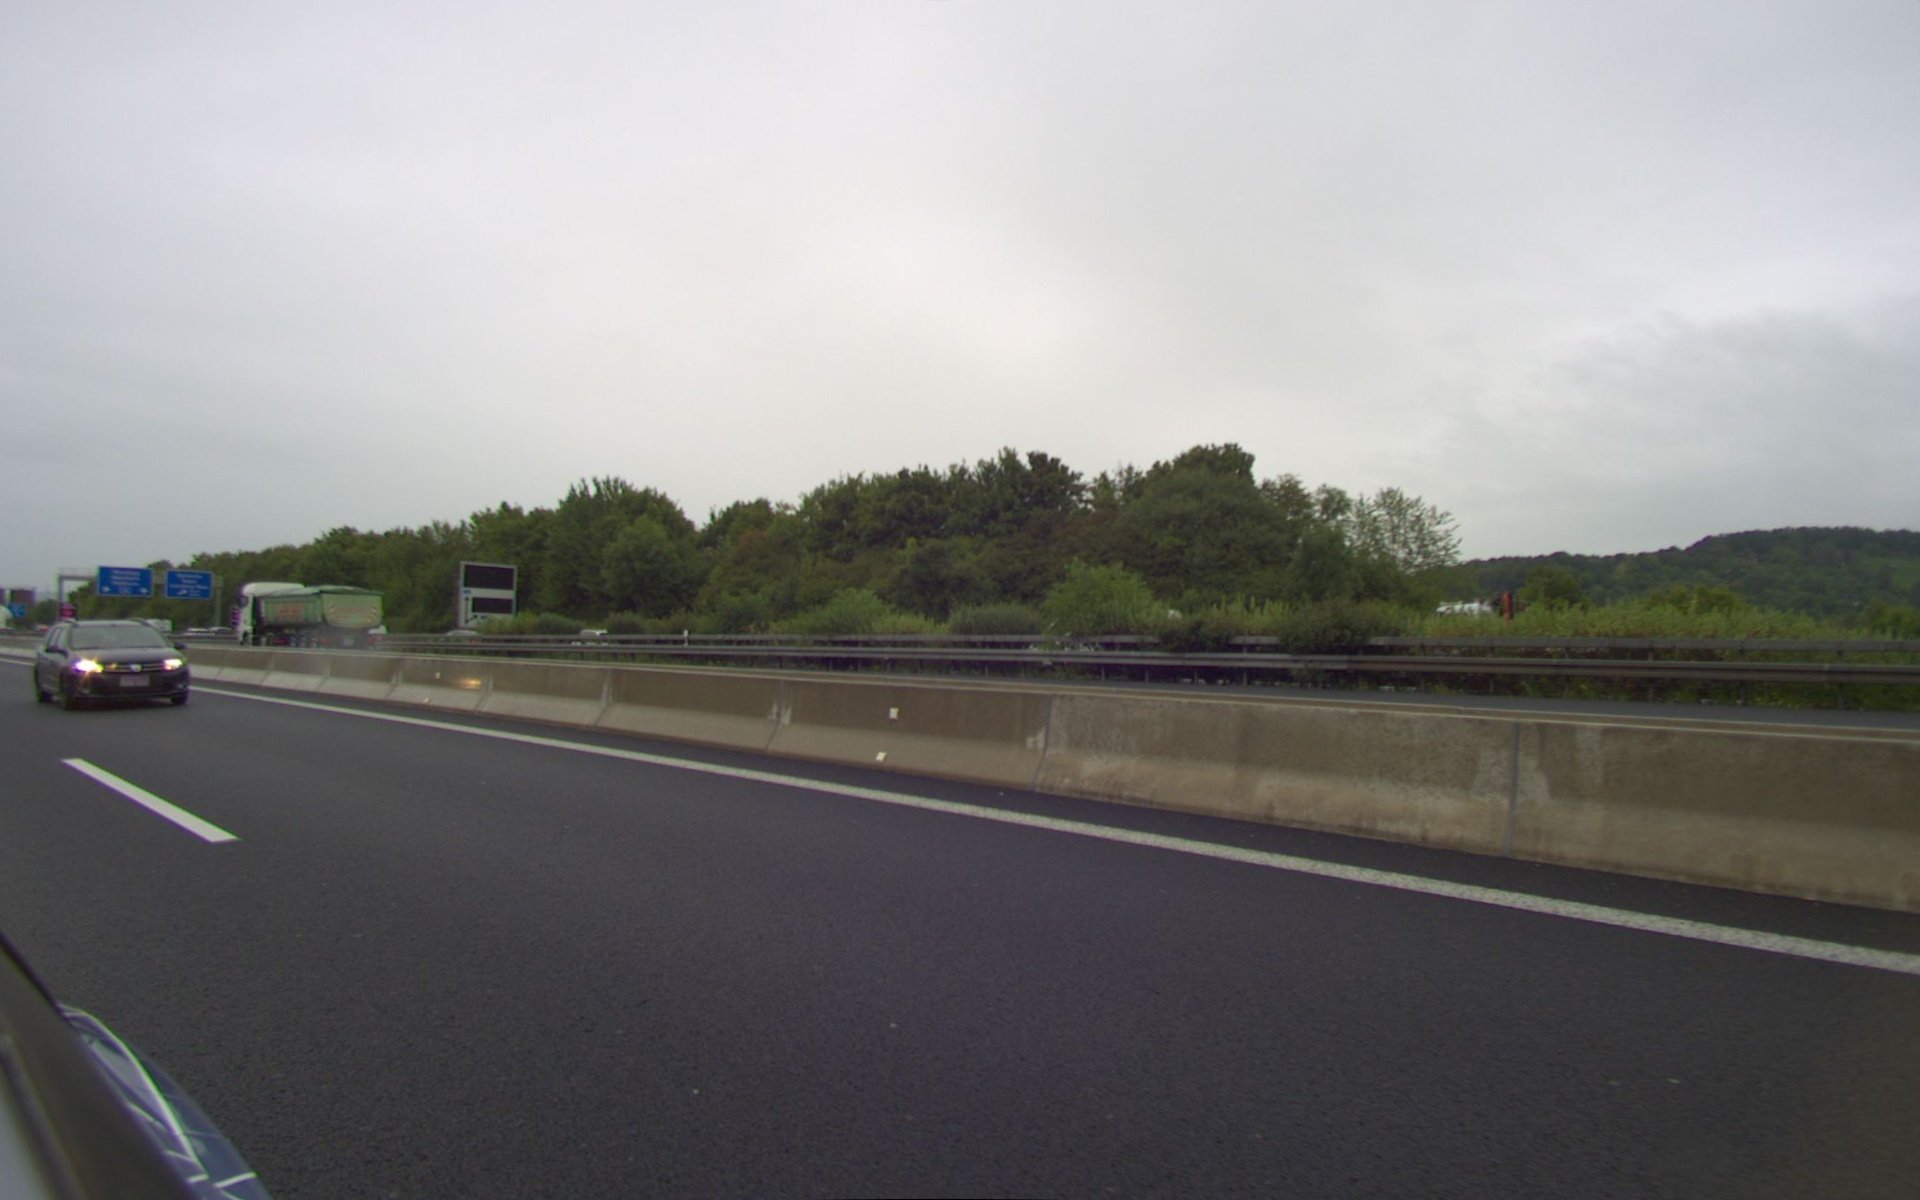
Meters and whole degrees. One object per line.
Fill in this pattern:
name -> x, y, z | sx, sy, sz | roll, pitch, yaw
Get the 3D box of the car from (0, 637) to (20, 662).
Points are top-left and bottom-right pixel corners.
car -> -76.699, 3.945, 80.684 | 4.535, 1.890, 1.877 | -1, -2, 38

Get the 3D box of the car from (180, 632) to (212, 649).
car -> -75.441, 3.991, 99.923 | 3.997, 1.519, 1.686 | -1, -2, 40

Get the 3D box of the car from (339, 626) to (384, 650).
car -> -47.673, 3.001, 80.602 | 4.410, 1.800, 1.782 | -1, -2, 42

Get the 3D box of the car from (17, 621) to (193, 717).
car -> -15.435, 1.141, 18.192 | 4.564, 1.501, 1.704 | -1, -2, 41

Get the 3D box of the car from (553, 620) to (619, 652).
car -> -21.968, 2.081, 59.431 | 4.410, 1.800, 1.782 | -1, -2, 42

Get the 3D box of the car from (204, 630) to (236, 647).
car -> -80.199, 4.138, 109.653 | 3.992, 1.783, 1.688 | -1, -2, 36

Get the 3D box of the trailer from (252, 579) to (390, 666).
trailer -> -30.214, 1.055, 47.665 | 8.920, 3.777, 2.873 | -1, -2, 40

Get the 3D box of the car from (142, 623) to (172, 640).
car -> -97.362, 3.843, 122.658 | 5.294, 2.029, 1.855 | -1, -2, 40

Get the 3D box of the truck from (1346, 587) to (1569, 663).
truck -> 15.886, 0.817, 32.612 | 6.156, 2.259, 2.004 | -1, -2, 41

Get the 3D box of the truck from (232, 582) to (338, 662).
truck -> -33.869, 1.112, 50.737 | 5.940, 3.777, 2.858 | -1, -2, 40

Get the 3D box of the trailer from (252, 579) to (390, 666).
trailer -> -30.214, 1.055, 47.665 | 8.920, 3.777, 2.873 | -1, -2, 40

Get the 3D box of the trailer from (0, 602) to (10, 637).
trailer -> -107.820, 2.187, 112.056 | 10.804, 3.765, 2.609 | -1, -2, 41

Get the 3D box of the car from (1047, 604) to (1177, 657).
car -> 5.427, 1.106, 36.438 | 4.410, 1.800, 1.782 | -1, -2, 42
